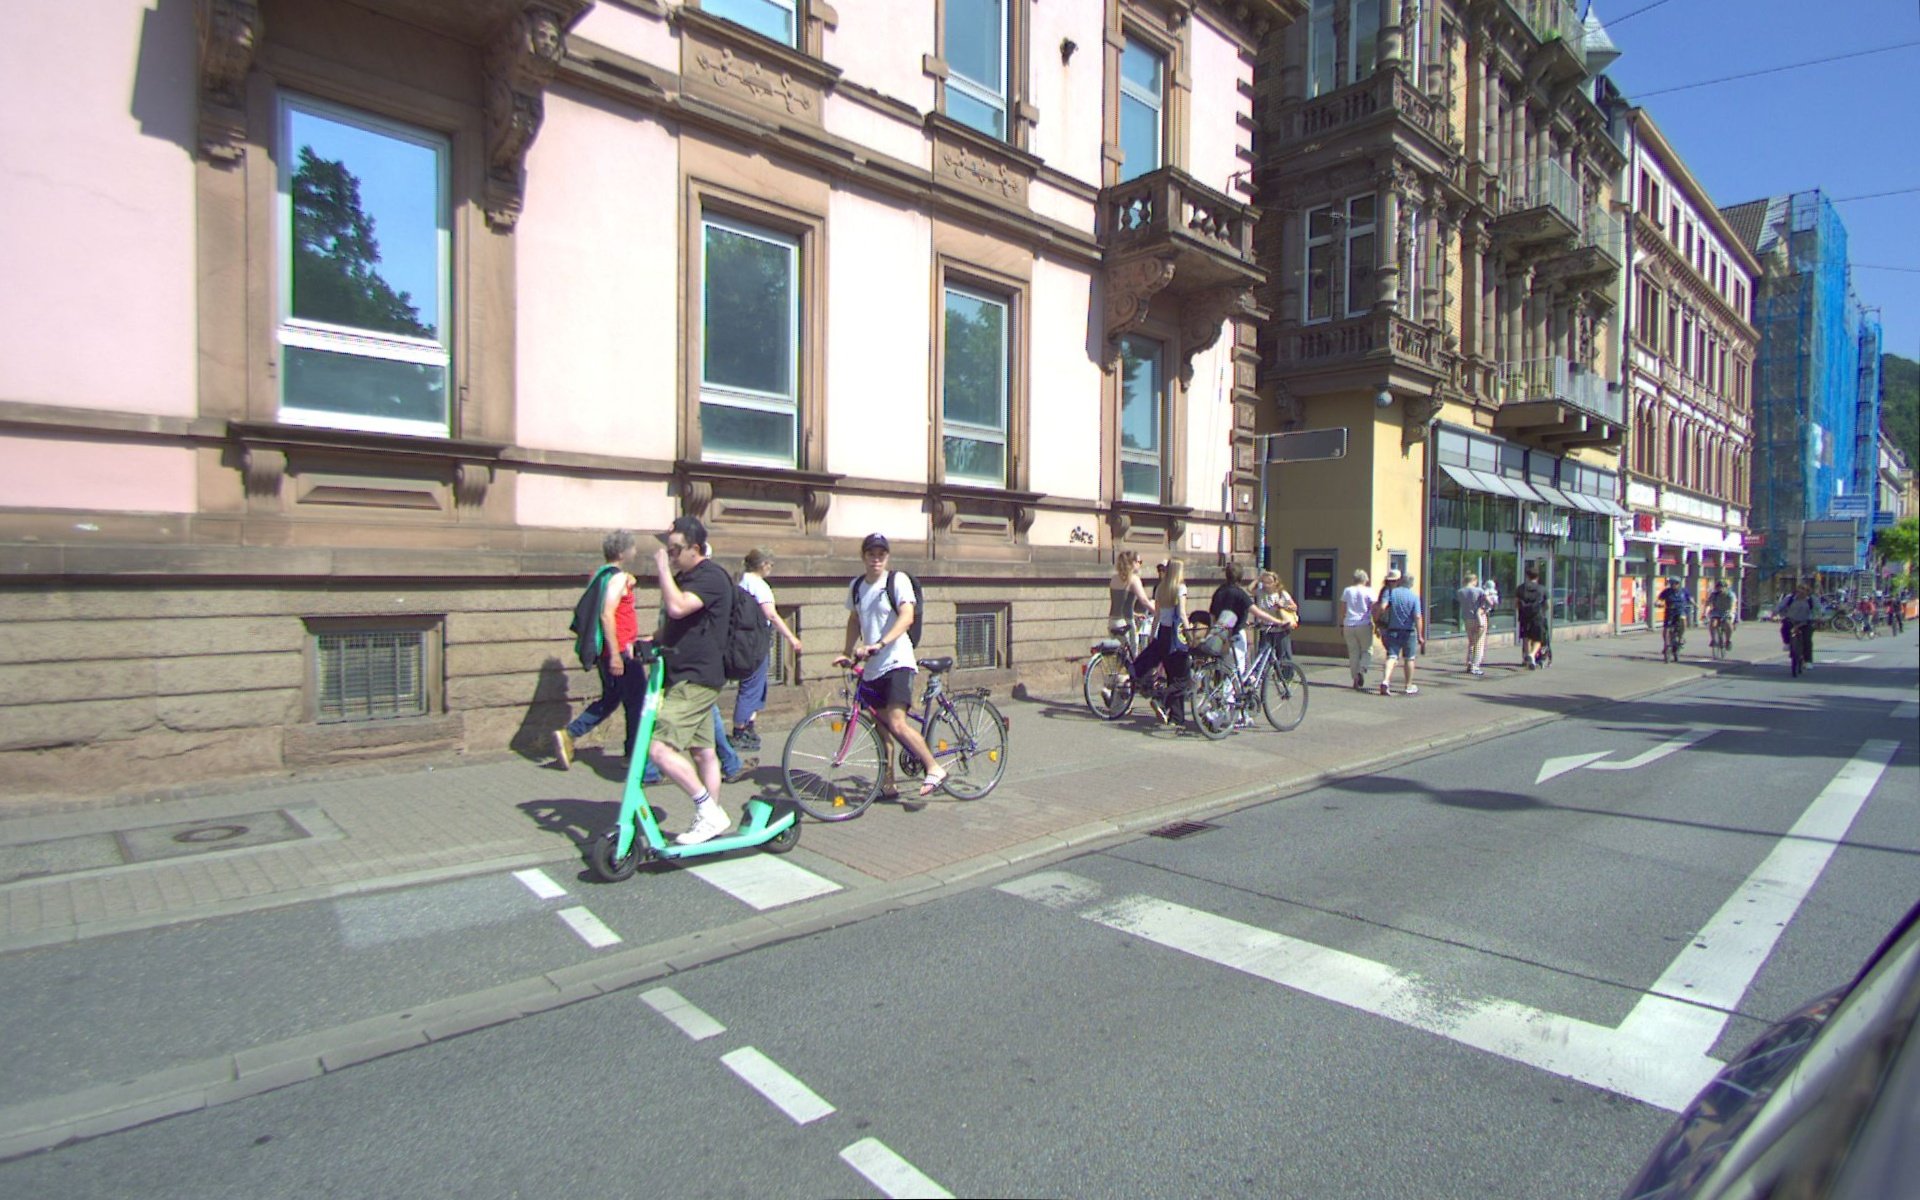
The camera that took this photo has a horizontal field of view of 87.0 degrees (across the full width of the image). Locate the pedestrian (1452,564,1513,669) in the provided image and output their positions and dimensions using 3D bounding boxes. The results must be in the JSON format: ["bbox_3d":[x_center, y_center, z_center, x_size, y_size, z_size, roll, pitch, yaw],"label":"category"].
[{"bbox_3d":[8.766,0.254,16.990,0.617,1.715,0.707,-1,3,-41],"label":"pedestrian"}]

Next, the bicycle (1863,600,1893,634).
[{"bbox_3d":[32.675,0.587,36.015,2.456,1.096,0.642,-1,2,-45],"label":"bicycle"}]

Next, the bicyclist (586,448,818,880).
[{"bbox_3d":[-1.384,0.284,5.390,0.816,2.038,0.942,0,2,-44],"label":"bicyclist"}]

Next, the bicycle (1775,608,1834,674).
[{"bbox_3d":[15.891,0.738,19.018,0.642,1.096,2.457,3,2,44],"label":"bicycle"}]

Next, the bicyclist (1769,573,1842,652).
[{"bbox_3d":[15.878,0.212,18.996,1.213,1.410,0.911,0,2,-45],"label":"bicyclist"}]

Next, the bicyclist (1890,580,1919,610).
[{"bbox_3d":[36.657,-0.200,39.164,1.213,1.096,0.911,0,2,-45],"label":"bicyclist"}]

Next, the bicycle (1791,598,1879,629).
[{"bbox_3d":[34.006,0.505,39.358,0.632,1.096,2.494,0,2,-39],"label":"bicycle"}]

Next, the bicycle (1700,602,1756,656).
[{"bbox_3d":[17.079,0.607,22.477,2.456,1.096,0.642,-1,2,-45],"label":"bicycle"}]

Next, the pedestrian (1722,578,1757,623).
[{"bbox_3d":[29.217,0.010,37.934,0.910,1.620,1.213,2,2,43],"label":"pedestrian"}]

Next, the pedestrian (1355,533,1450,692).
[{"bbox_3d":[5.943,0.144,13.598,0.802,2.038,0.812,0,4,-45],"label":"pedestrian"}]

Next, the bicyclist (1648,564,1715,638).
[{"bbox_3d":[14.898,0.003,20.889,1.213,1.454,0.911,0,2,-45],"label":"bicyclist"}]

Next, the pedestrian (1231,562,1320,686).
[{"bbox_3d":[4.375,0.306,14.044,0.802,1.621,0.812,0,4,-45],"label":"pedestrian"}]

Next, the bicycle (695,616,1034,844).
[{"bbox_3d":[-0.530,0.711,6.418,0.779,1.115,2.104,5,4,44],"label":"bicycle"}]

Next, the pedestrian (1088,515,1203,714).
[{"bbox_3d":[2.008,0.130,10.967,0.802,2.038,0.812,0,4,-45],"label":"pedestrian"}]

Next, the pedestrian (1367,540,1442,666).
[{"bbox_3d":[7.496,0.027,17.062,0.802,2.038,0.812,0,4,-45],"label":"pedestrian"}]

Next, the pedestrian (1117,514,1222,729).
[{"bbox_3d":[2.084,0.187,10.082,0.688,2.038,0.661,0,4,-45],"label":"pedestrian"}]

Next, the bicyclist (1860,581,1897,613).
[{"bbox_3d":[32.708,-0.125,36.033,1.213,1.082,0.911,0,2,-45],"label":"bicyclist"}]

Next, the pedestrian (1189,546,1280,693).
[{"bbox_3d":[3.536,0.225,13.023,0.802,1.815,0.812,0,1,-45],"label":"pedestrian"}]

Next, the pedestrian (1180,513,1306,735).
[{"bbox_3d":[2.758,0.197,9.875,0.802,2.038,0.812,0,3,-45],"label":"pedestrian"}]

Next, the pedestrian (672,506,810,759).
[{"bbox_3d":[-1.770,0.239,8.216,0.635,1.915,0.888,1,0,45],"label":"pedestrian"}]

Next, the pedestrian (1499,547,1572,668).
[{"bbox_3d":[10.102,0.109,17.763,0.802,2.038,0.812,0,4,-45],"label":"pedestrian"}]

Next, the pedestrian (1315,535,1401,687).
[{"bbox_3d":[5.560,0.127,14.128,0.802,2.038,0.812,0,2,-45],"label":"pedestrian"}]

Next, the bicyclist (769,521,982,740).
[{"bbox_3d":[-0.532,0.152,6.355,0.956,1.234,0.921,0,2,-45],"label":"bicyclist"}]

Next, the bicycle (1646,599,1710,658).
[{"bbox_3d":[14.798,0.557,20.827,2.456,1.096,0.642,-1,2,-45],"label":"bicycle"}]

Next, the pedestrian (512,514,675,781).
[{"bbox_3d":[-2.629,0.293,7.286,0.706,1.774,0.889,2,3,45],"label":"pedestrian"}]

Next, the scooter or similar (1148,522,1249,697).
[{"bbox_3d":[2.916,0.094,12.351,1.078,2.038,0.693,0,2,-45],"label":"scooter or similar"}]

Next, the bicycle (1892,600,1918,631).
[{"bbox_3d":[36.573,0.583,39.154,2.456,1.096,0.642,-1,2,-45],"label":"bicycle"}]

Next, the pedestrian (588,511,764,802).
[{"bbox_3d":[-1.895,0.330,6.772,0.706,1.791,0.889,3,2,45],"label":"pedestrian"}]

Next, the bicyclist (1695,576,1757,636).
[{"bbox_3d":[16.929,0.116,22.363,1.213,1.249,0.911,0,2,-45],"label":"bicyclist"}]

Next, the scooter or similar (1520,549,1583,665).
[{"bbox_3d":[10.772,0.112,18.426,1.078,2.038,0.693,0,2,-45],"label":"scooter or similar"}]
